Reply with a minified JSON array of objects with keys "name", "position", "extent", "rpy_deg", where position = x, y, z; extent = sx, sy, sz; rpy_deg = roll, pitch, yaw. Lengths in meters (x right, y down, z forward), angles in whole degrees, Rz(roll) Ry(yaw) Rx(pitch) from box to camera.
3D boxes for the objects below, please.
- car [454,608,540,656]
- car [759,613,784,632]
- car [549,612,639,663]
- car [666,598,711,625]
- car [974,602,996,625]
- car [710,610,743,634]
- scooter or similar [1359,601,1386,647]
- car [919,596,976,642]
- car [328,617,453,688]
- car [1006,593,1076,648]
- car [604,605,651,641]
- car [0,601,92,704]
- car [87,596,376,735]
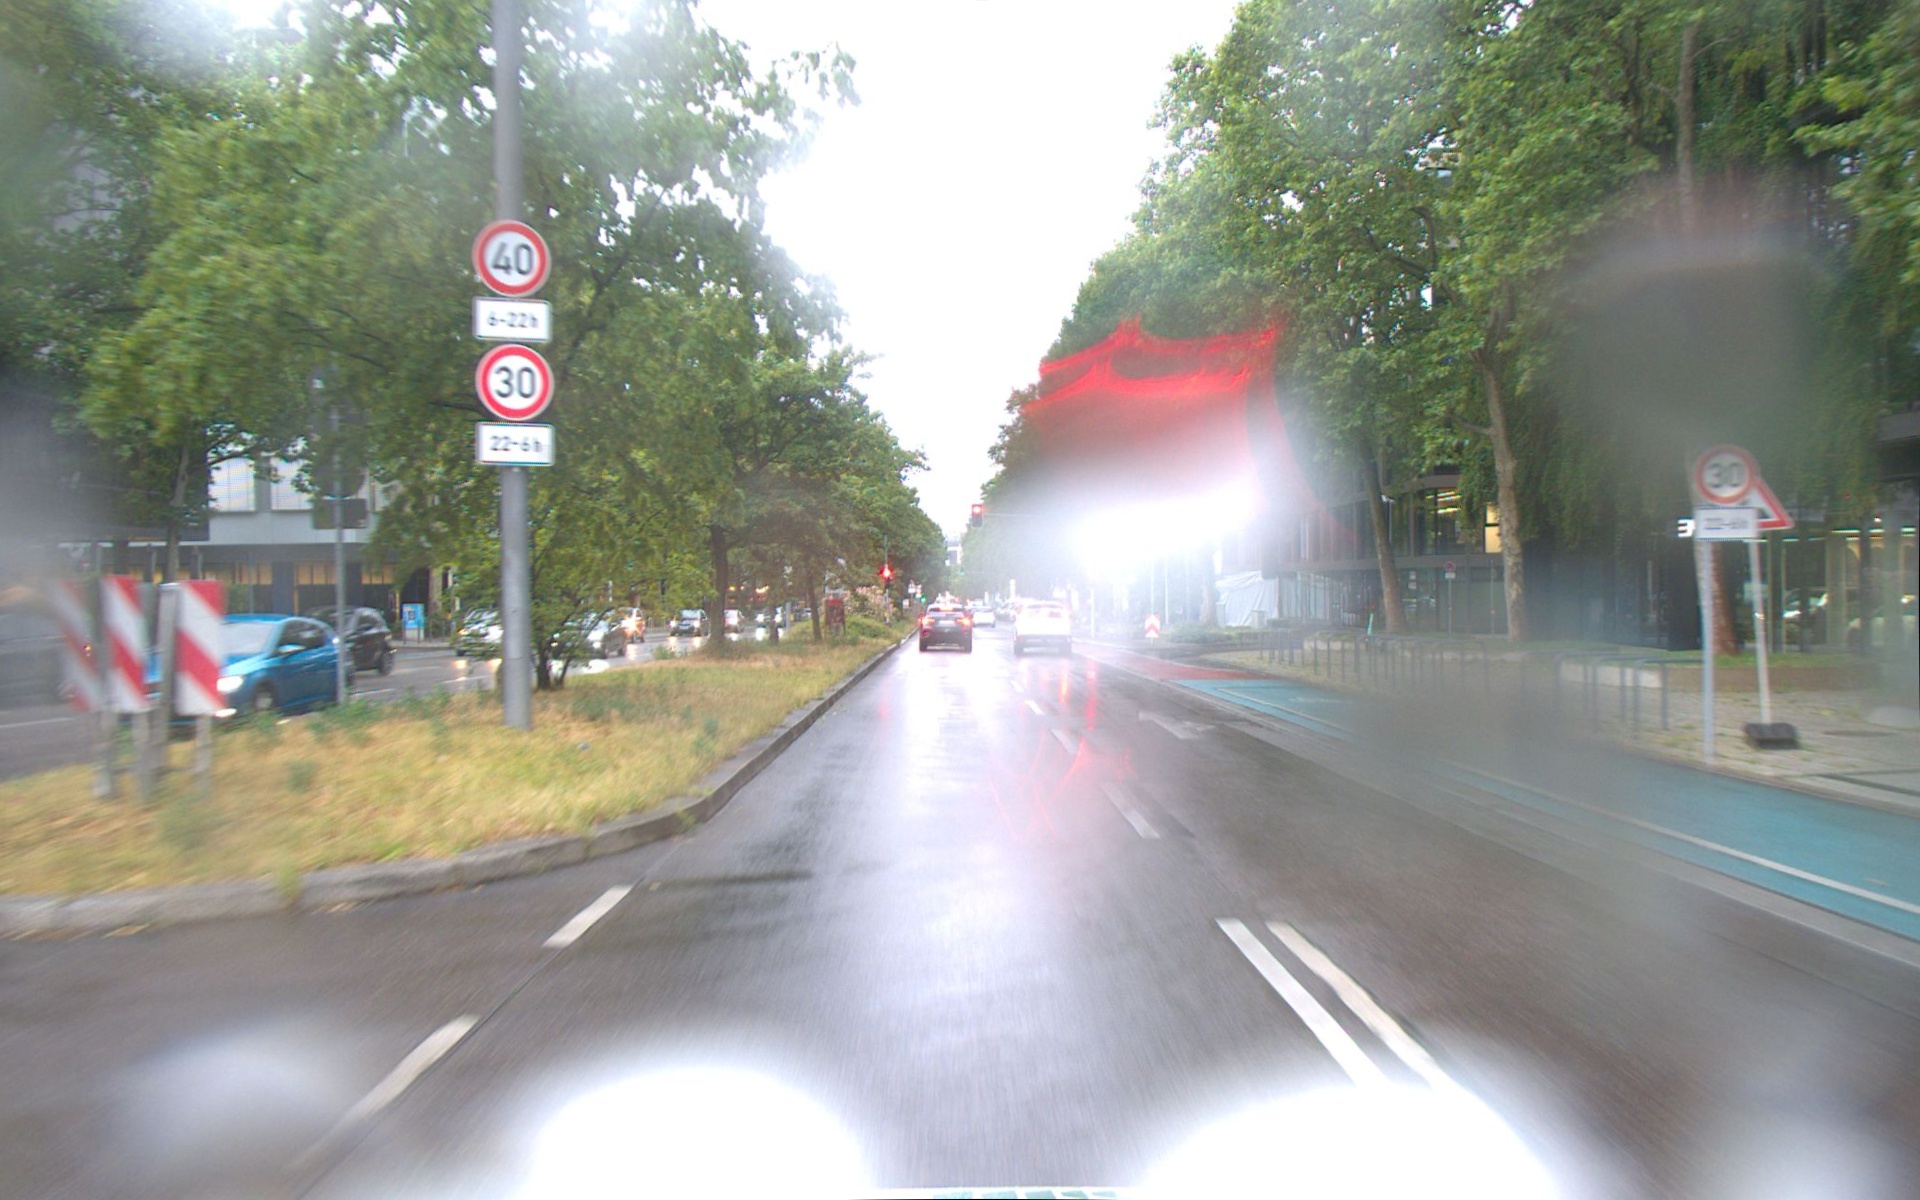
[{"name":"car","position":[-14.923,0.994,53.467],"extent":[1.806,1.454,3.642],"rpy_deg":[-1,0,-1]},{"name":"car","position":[-14.475,1.696,127.013],"extent":[1.581,1.418,3.596],"rpy_deg":[0,0,-1]},{"name":"car","position":[-11.417,1.167,51.829],"extent":[1.712,1.502,4.097],"rpy_deg":[1,-1,3]},{"name":"car","position":[-14.647,0.618,89.422],"extent":[1.806,1.414,3.999],"rpy_deg":[-1,0,-1]},{"name":"car","position":[1.906,1.025,126.924],"extent":[1.587,1.695,3.999],"rpy_deg":[-1,0,-1]},{"name":"car","position":[-14.743,1.387,104.679],"extent":[1.581,1.418,4.183],"rpy_deg":[0,0,-1]},{"name":"scooter or similar","position":[11.481,0.664,46.033],"extent":[0.374,1.249,1.075],"rpy_deg":[0,0,35]},{"name":"car","position":[-0.444,0.629,57.337],"extent":[1.879,1.517,3.999],"rpy_deg":[-1,0,-1]},{"name":"car","position":[-12.560,1.132,36.656],"extent":[1.683,1.391,3.048],"rpy_deg":[1,1,1]},{"name":"car","position":[2.592,0.638,53.984],"extent":[1.953,1.684,4.888],"rpy_deg":[0,0,-1]},{"name":"car","position":[-14.556,0.989,72.445],"extent":[1.463,1.489,2.731],"rpy_deg":[-1,0,0]},{"name":"car","position":[-14.901,0.780,24.776],"extent":[1.714,1.502,4.095],"rpy_deg":[-1,0,-1]},{"name":"car","position":[-9.144,0.747,21.191],"extent":[1.806,1.507,4.396],"rpy_deg":[1,1,-1]}]
